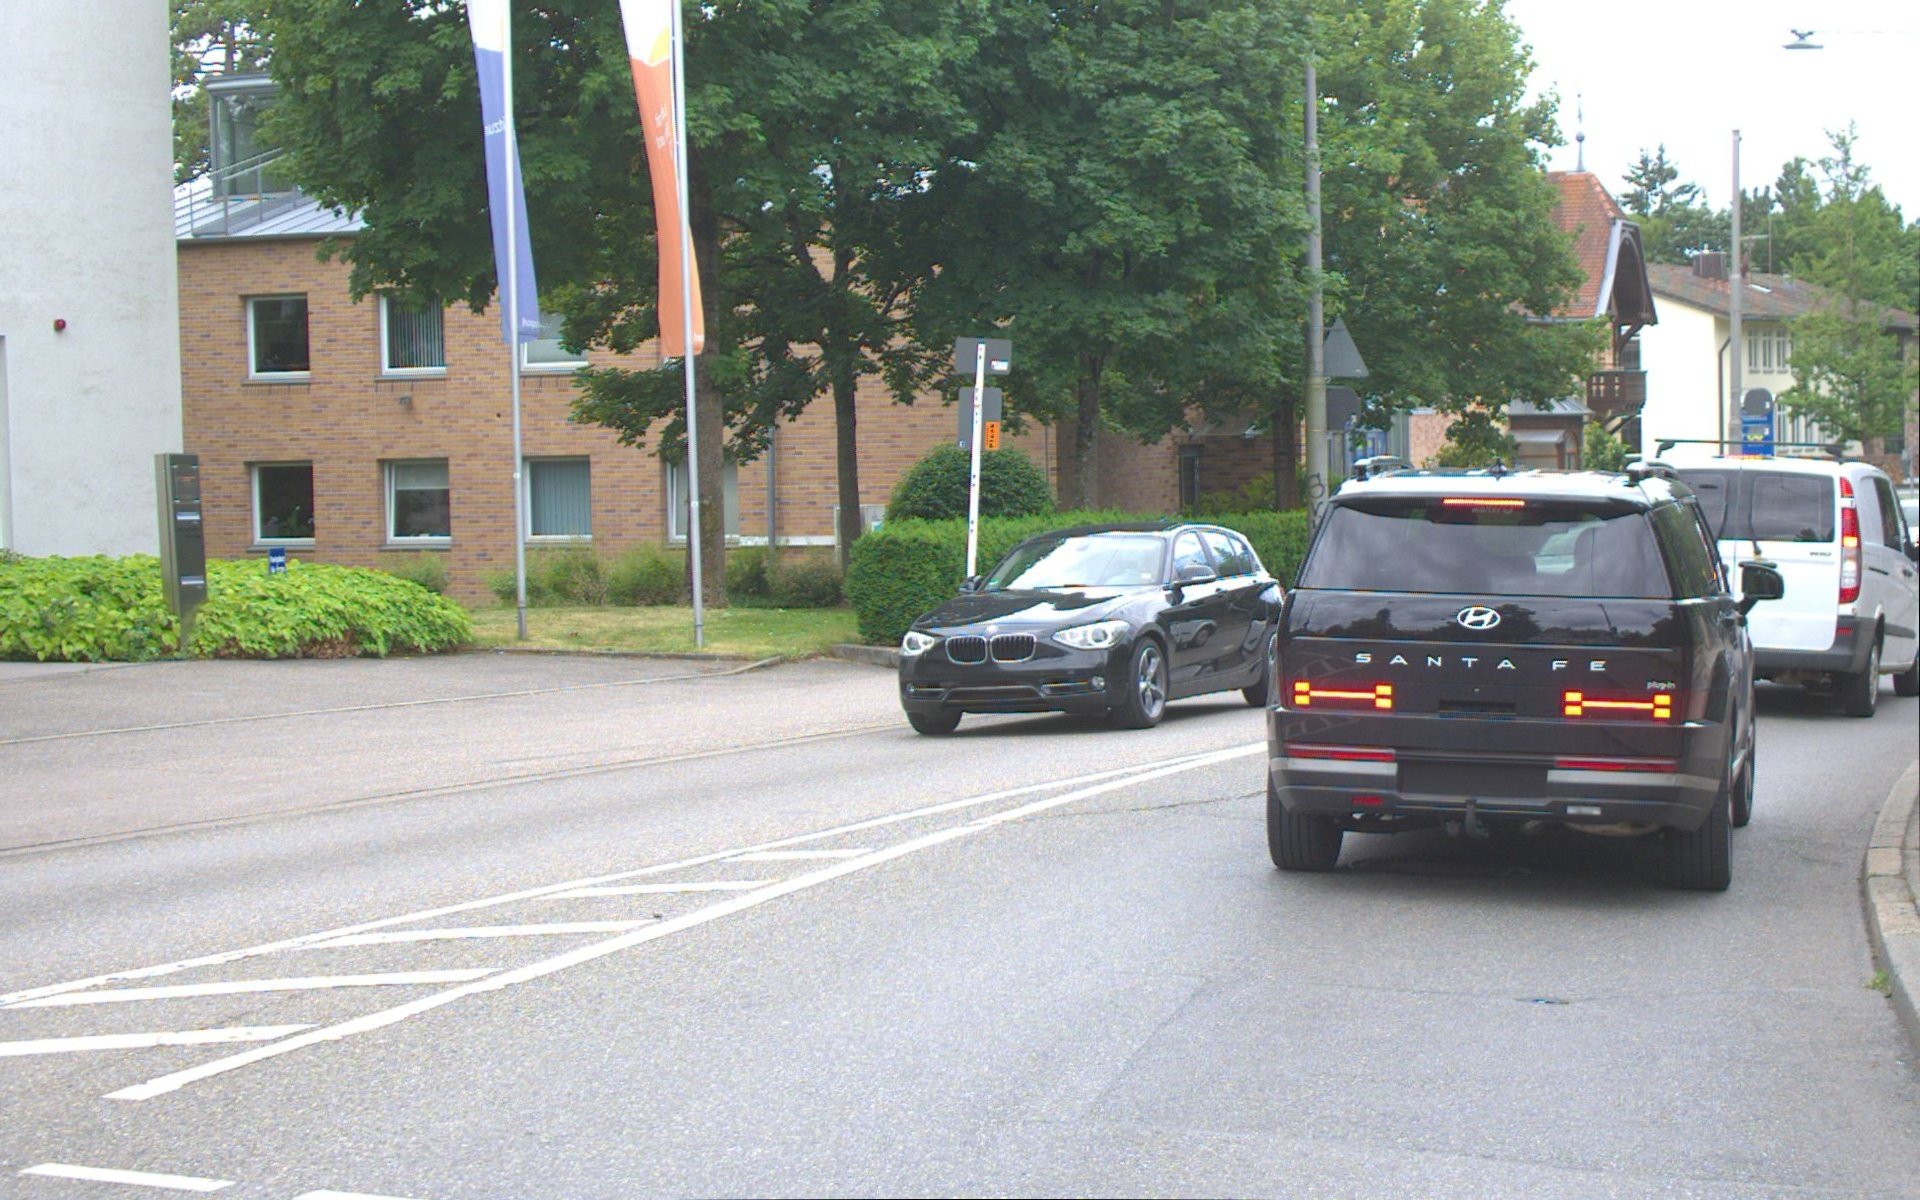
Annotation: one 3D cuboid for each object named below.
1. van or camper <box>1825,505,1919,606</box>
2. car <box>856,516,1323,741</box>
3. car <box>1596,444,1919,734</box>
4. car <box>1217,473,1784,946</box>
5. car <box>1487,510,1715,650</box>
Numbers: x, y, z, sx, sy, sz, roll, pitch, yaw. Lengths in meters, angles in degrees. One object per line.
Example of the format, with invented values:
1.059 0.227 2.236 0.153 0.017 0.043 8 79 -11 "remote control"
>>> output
15.799 -0.789 57.694 1.995 1.601 3.996 -1 1 21 "van or camper"
1.016 0.159 24.547 1.765 1.403 3.995 -2 1 27 "car"
6.375 -0.149 26.668 1.959 1.949 4.219 5 3 21 "car"
2.553 0.333 15.323 1.958 1.707 4.221 3 3 15 "car"
7.383 -0.259 39.346 1.697 1.435 3.752 -3 1 24 "car"
